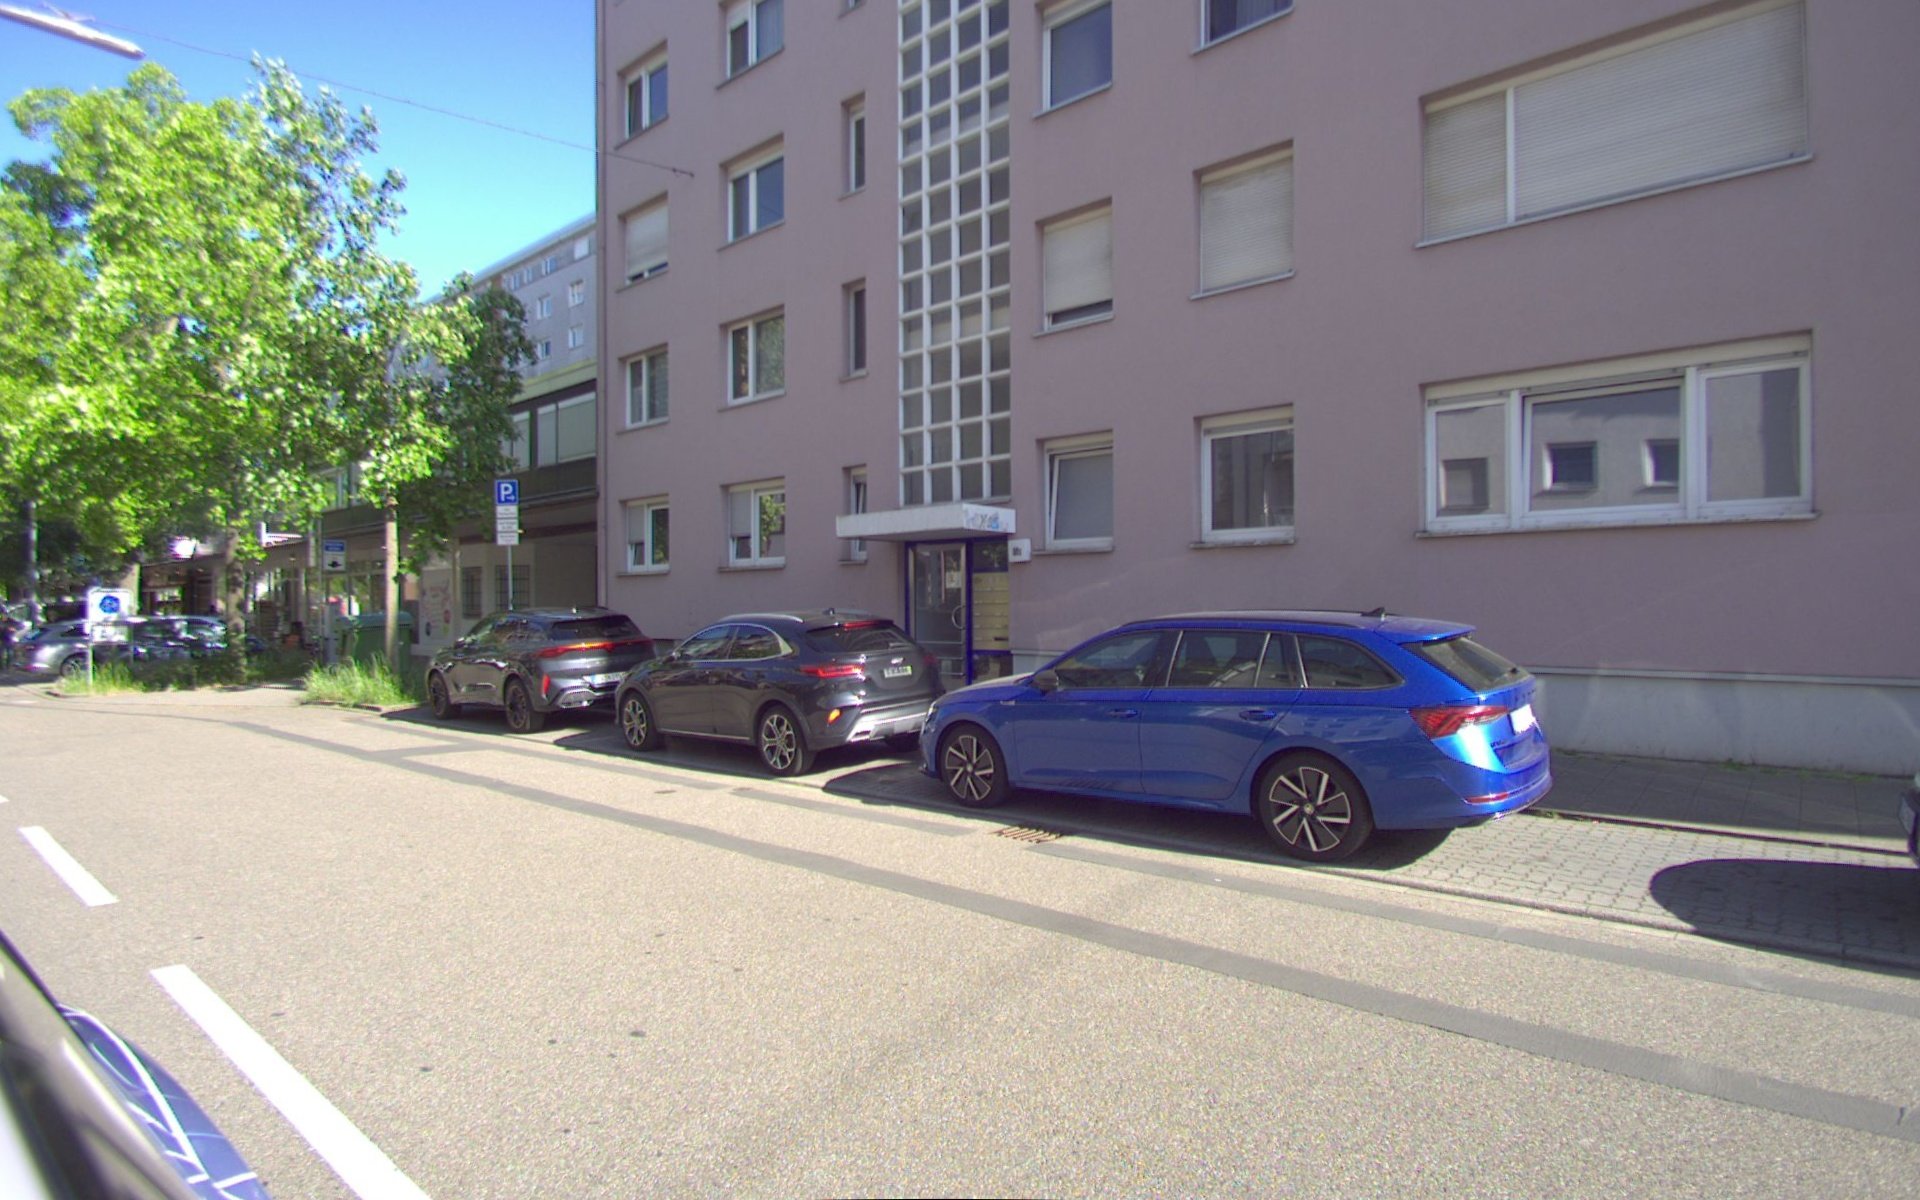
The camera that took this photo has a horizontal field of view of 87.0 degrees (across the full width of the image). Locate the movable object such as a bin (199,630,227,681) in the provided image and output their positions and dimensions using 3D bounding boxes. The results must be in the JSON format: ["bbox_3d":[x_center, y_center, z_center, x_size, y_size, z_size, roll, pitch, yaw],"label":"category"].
[{"bbox_3d":[-18.478,1.373,25.025,0.409,1.234,0.482,-1,-1,41],"label":"movable object such as a bin"}]

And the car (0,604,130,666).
[{"bbox_3d":[-31.274,1.160,34.828,1.999,2.047,3.945,-1,-1,41],"label":"car"}]

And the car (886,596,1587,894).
[{"bbox_3d":[1.705,0.779,7.338,4.610,1.476,1.699,-1,1,41],"label":"car"}]

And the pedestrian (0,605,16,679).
[{"bbox_3d":[-26.540,1.149,27.812,0.563,2.029,0.746,-1,-1,28],"label":"pedestrian"}]

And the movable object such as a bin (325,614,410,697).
[{"bbox_3d":[-11.566,1.056,19.775,1.230,1.557,1.019,0,-1,-44],"label":"movable object such as a bin"}]

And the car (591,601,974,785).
[{"bbox_3d":[-2.039,0.833,10.801,4.245,1.519,1.798,-1,1,43],"label":"car"}]

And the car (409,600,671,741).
[{"bbox_3d":[-6.044,0.886,14.332,4.141,1.604,1.798,-1,2,43],"label":"car"}]

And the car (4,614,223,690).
[{"bbox_3d":[-20.962,1.219,25.170,1.999,1.687,3.945,-1,-1,41],"label":"car"}]

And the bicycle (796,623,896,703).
[{"bbox_3d":[-1.679,0.886,14.713,1.649,1.084,0.386,-1,3,42],"label":"bicycle"}]

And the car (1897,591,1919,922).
[{"bbox_3d":[6.327,0.681,3.216,4.812,1.476,1.700,-1,1,41],"label":"car"}]

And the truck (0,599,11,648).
[{"bbox_3d":[-52.277,1.238,51.672,1.993,2.615,5.266,-1,-1,31],"label":"truck"}]
